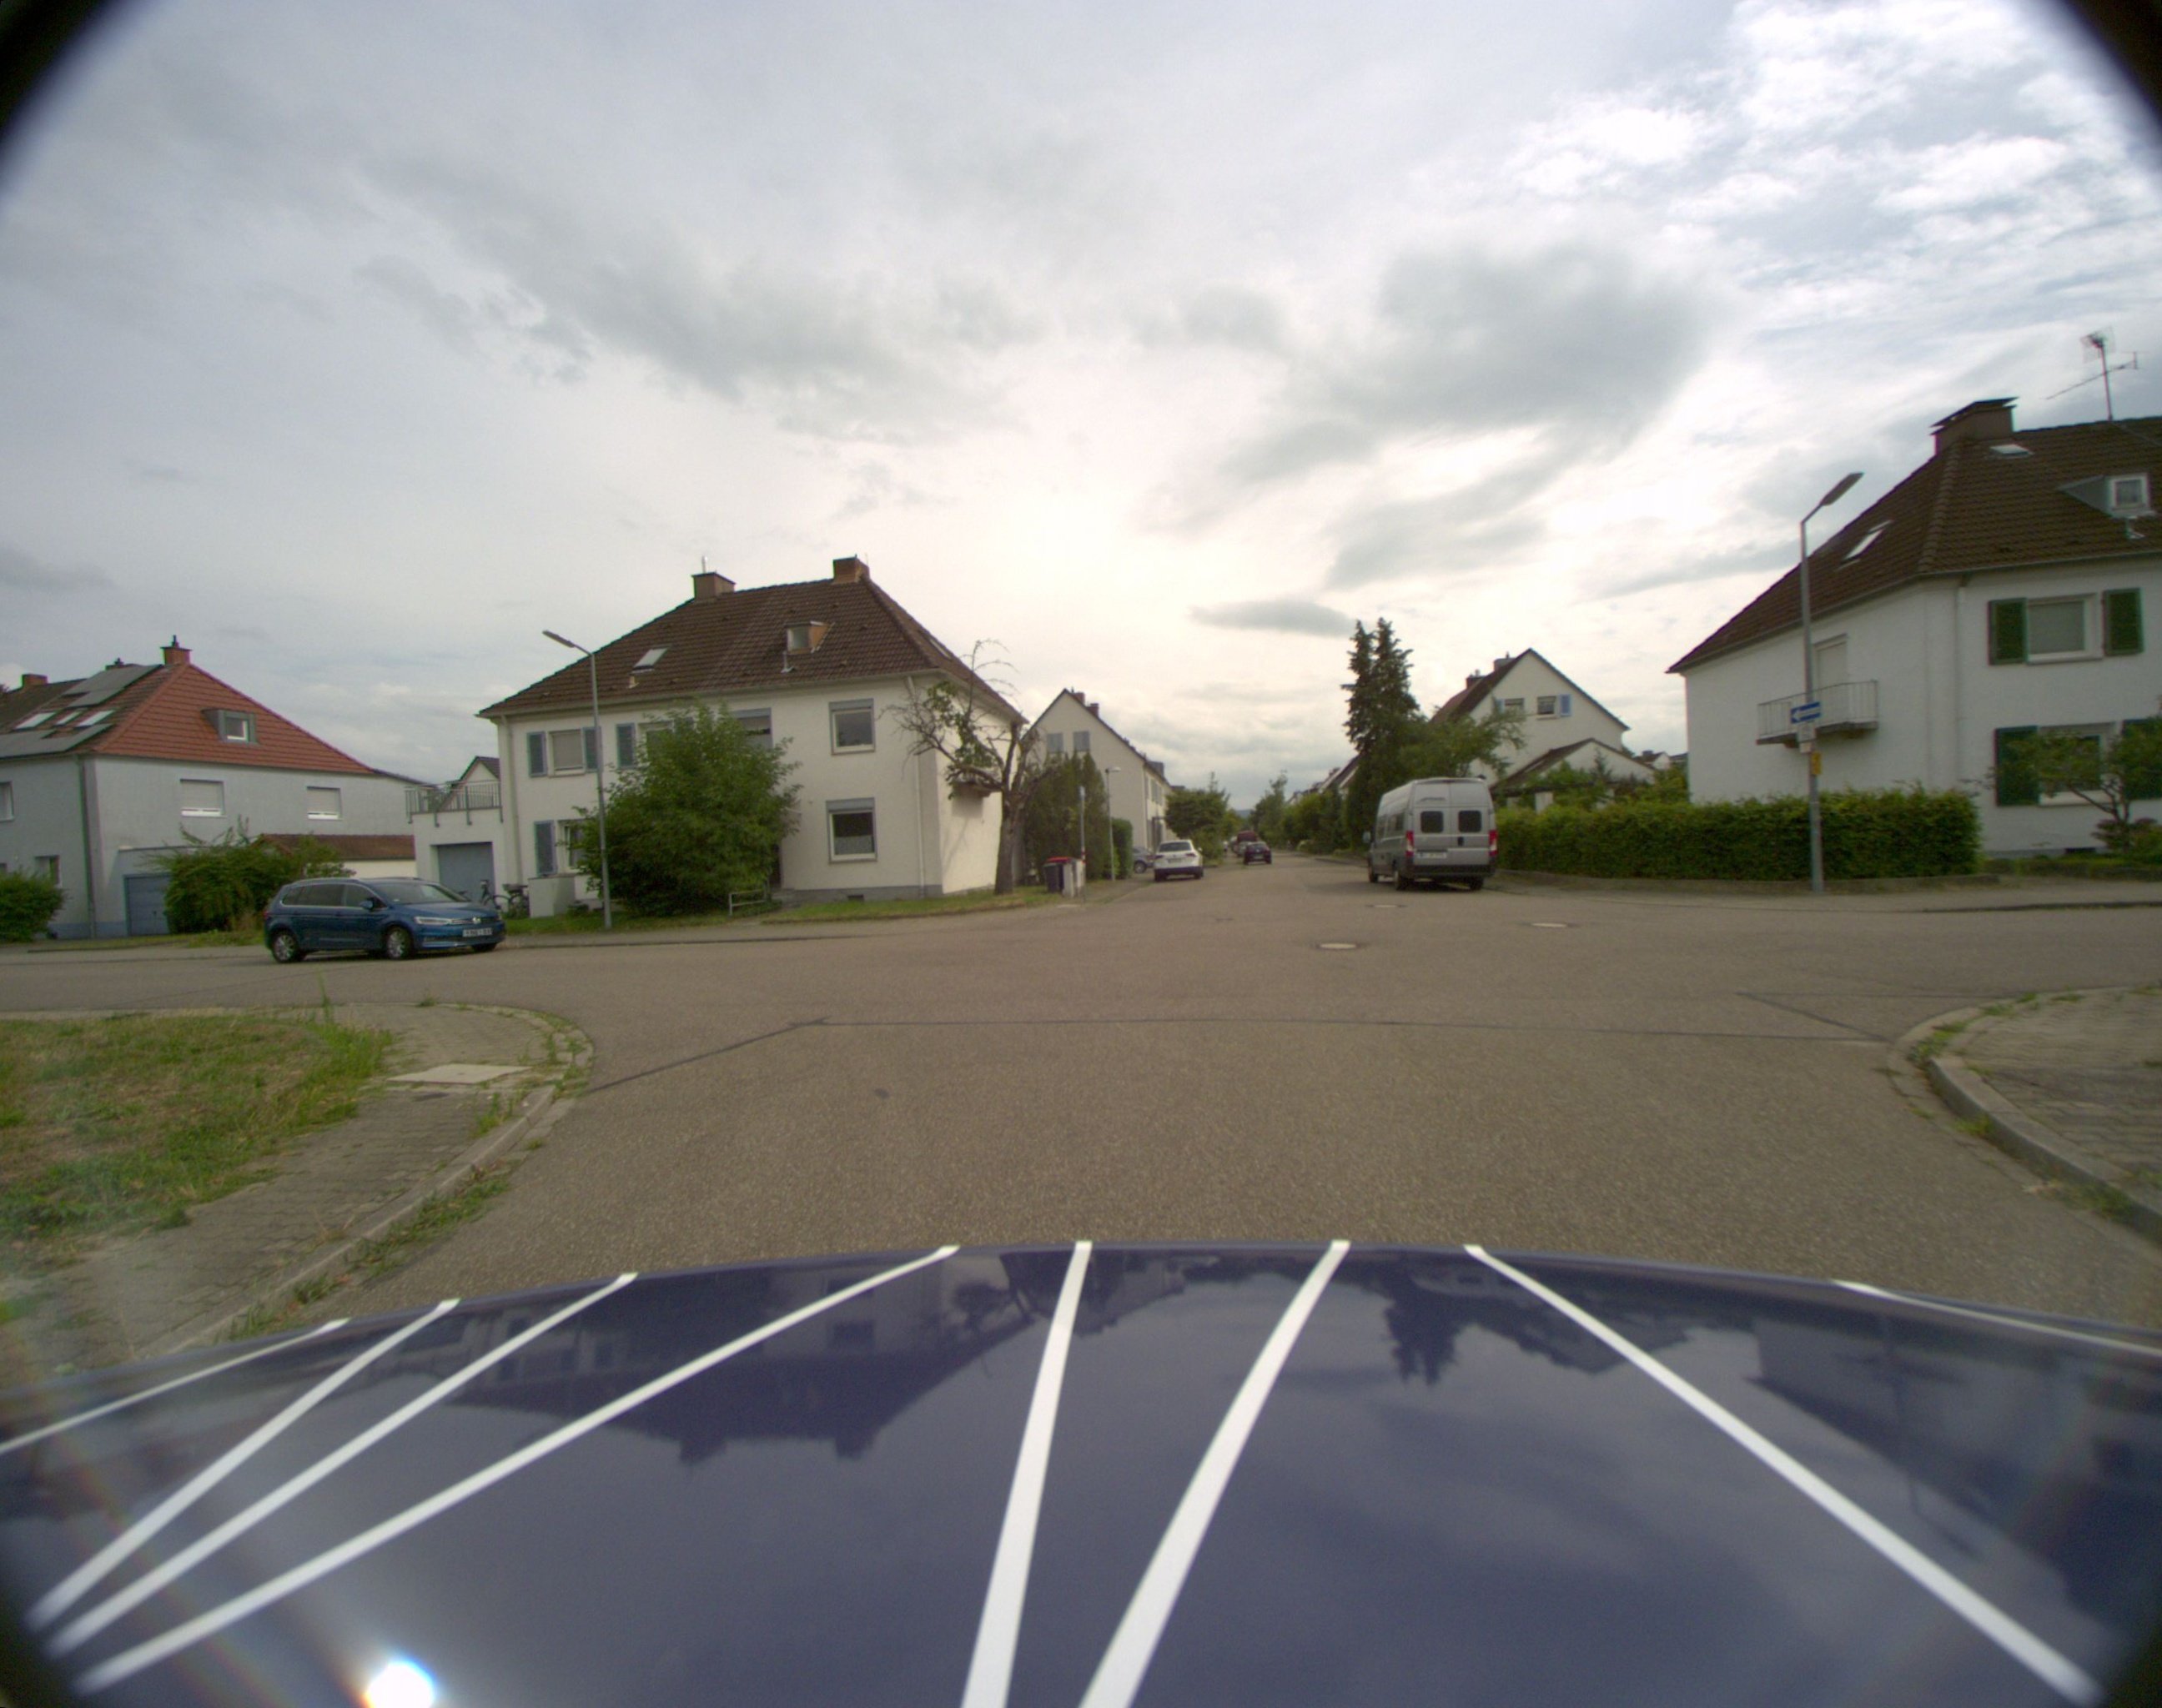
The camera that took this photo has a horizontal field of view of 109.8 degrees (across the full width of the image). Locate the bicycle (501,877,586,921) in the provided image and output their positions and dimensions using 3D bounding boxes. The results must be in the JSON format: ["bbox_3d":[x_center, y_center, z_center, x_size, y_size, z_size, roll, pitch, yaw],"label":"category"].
[{"bbox_3d":[-15.243,1.277,21.546,2.167,1.128,0.573,-2,1,11],"label":"bicycle"}]

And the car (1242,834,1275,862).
[{"bbox_3d":[11.870,-0.420,50.558,1.996,1.696,4.003,-2,1,15],"label":"car"}]

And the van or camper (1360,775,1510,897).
[{"bbox_3d":[9.263,-0.463,20.522,2.344,2.719,5.751,-2,1,12],"label":"van or camper"}]

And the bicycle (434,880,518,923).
[{"bbox_3d":[-17.453,1.361,21.934,2.167,1.128,0.573,-2,1,11],"label":"bicycle"}]

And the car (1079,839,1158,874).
[{"bbox_3d":[2.090,0.149,41.551,3.993,1.696,2.001,-2,1,12],"label":"car"}]

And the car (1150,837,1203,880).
[{"bbox_3d":[3.973,0.133,31.385,1.997,1.590,4.002,-2,1,8],"label":"car"}]

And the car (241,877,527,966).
[{"bbox_3d":[-14.115,1.348,15.478,4.538,1.560,2.002,-2,0,12],"label":"car"}]
